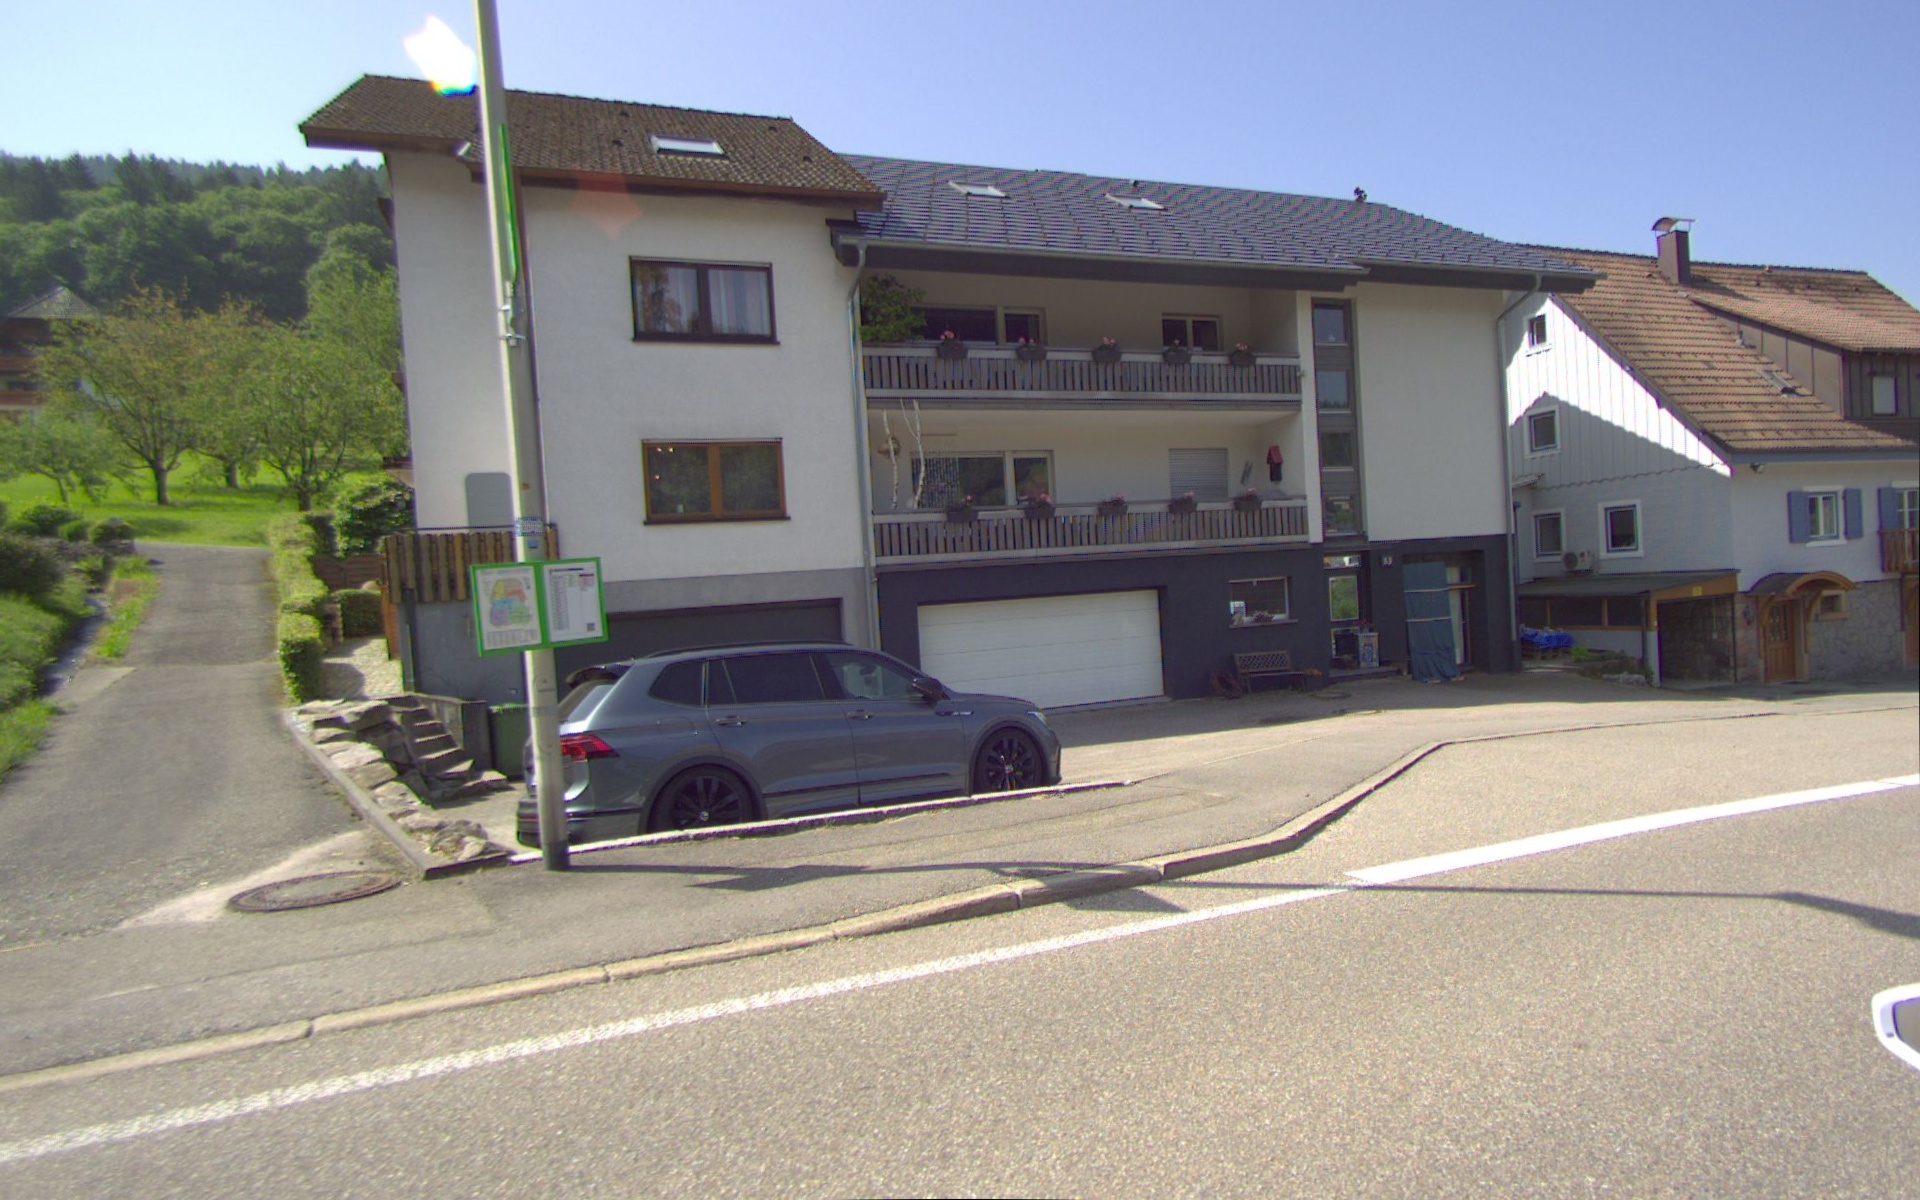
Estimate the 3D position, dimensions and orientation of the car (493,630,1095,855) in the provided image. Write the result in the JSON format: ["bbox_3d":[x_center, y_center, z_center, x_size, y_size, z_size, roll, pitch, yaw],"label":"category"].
[{"bbox_3d":[-1.189,0.952,8.340,4.649,1.356,1.770,1,-1,-36],"label":"car"}]
